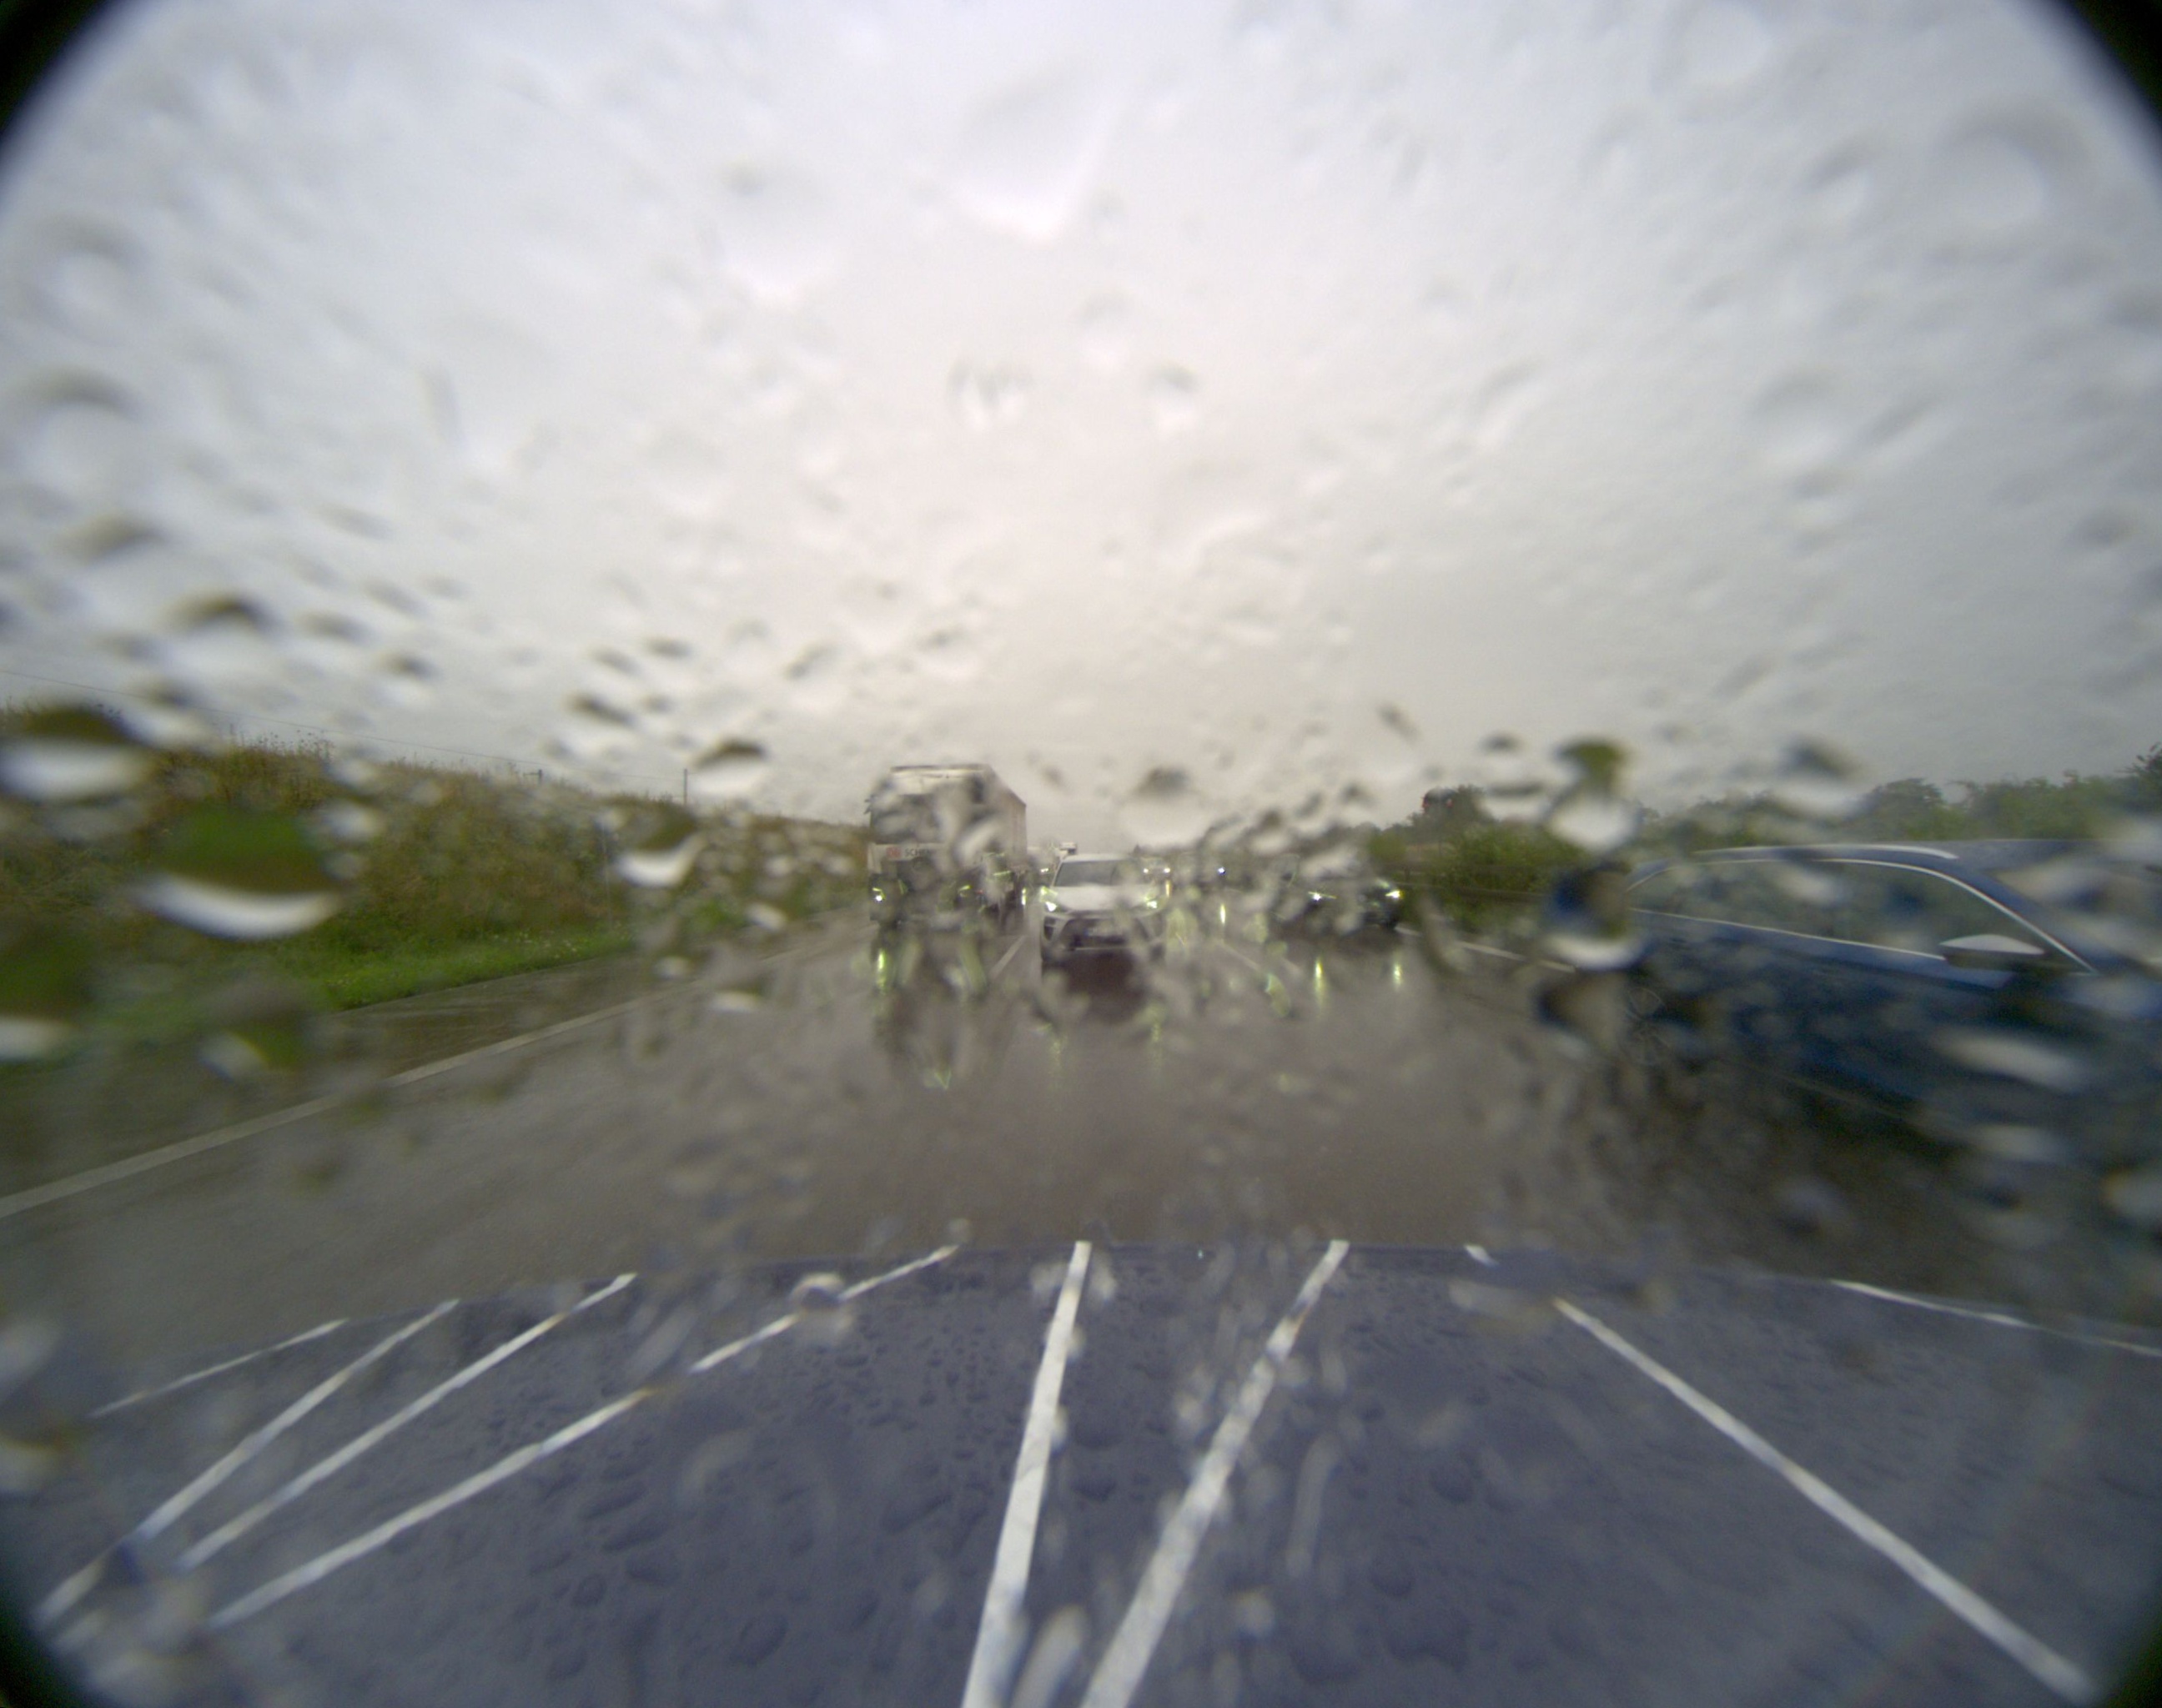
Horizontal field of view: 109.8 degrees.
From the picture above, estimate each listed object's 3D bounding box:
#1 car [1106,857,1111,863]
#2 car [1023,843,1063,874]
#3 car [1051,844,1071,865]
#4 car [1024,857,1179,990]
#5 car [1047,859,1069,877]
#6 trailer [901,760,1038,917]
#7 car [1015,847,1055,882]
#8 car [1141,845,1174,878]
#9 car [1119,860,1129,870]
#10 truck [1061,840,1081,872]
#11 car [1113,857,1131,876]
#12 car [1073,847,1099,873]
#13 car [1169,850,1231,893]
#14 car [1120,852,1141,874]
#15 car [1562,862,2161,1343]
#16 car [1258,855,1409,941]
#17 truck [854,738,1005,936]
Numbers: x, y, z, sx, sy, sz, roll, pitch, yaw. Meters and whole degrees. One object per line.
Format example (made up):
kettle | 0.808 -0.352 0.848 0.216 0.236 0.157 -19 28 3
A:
car | 7.363 1.598 201.713 1.279 1.567 2.848 -2 0 0
car | -2.606 0.272 53.644 2.260 2.002 4.269 -2 1 4
car | -2.138 0.087 84.070 1.998 2.231 4.000 -2 0 1
car | 0.282 0.883 11.507 1.893 1.578 4.000 -2 0 1
car | -2.321 1.415 78.144 1.998 1.805 4.000 -2 0 1
trailer | -3.456 -0.508 27.950 2.633 4.224 14.174 -2 1 1
car | -2.792 0.603 47.216 1.946 2.002 4.446 -2 1 3
car | 4.977 0.467 49.882 1.888 2.002 4.270 -2 0 4
car | 6.906 1.759 122.486 1.458 1.540 2.804 0 2 1
truck | -1.497 0.328 114.853 2.628 4.635 4.290 -2 0 1
car | 4.600 1.362 85.450 1.737 2.002 4.223 -2 0 1
car | 0.440 0.491 63.168 1.998 2.002 4.000 -2 0 2
car | 4.869 0.669 31.697 1.889 1.622 4.269 -2 0 0
car | 4.733 0.789 72.885 1.737 2.002 4.223 -2 0 1
car | 4.381 0.820 3.254 1.790 1.467 4.512 -2 0 1
car | 4.900 0.767 15.375 1.613 1.428 4.370 -2 0 1
truck | -3.558 -0.389 19.154 2.633 4.229 5.042 -2 1 0
